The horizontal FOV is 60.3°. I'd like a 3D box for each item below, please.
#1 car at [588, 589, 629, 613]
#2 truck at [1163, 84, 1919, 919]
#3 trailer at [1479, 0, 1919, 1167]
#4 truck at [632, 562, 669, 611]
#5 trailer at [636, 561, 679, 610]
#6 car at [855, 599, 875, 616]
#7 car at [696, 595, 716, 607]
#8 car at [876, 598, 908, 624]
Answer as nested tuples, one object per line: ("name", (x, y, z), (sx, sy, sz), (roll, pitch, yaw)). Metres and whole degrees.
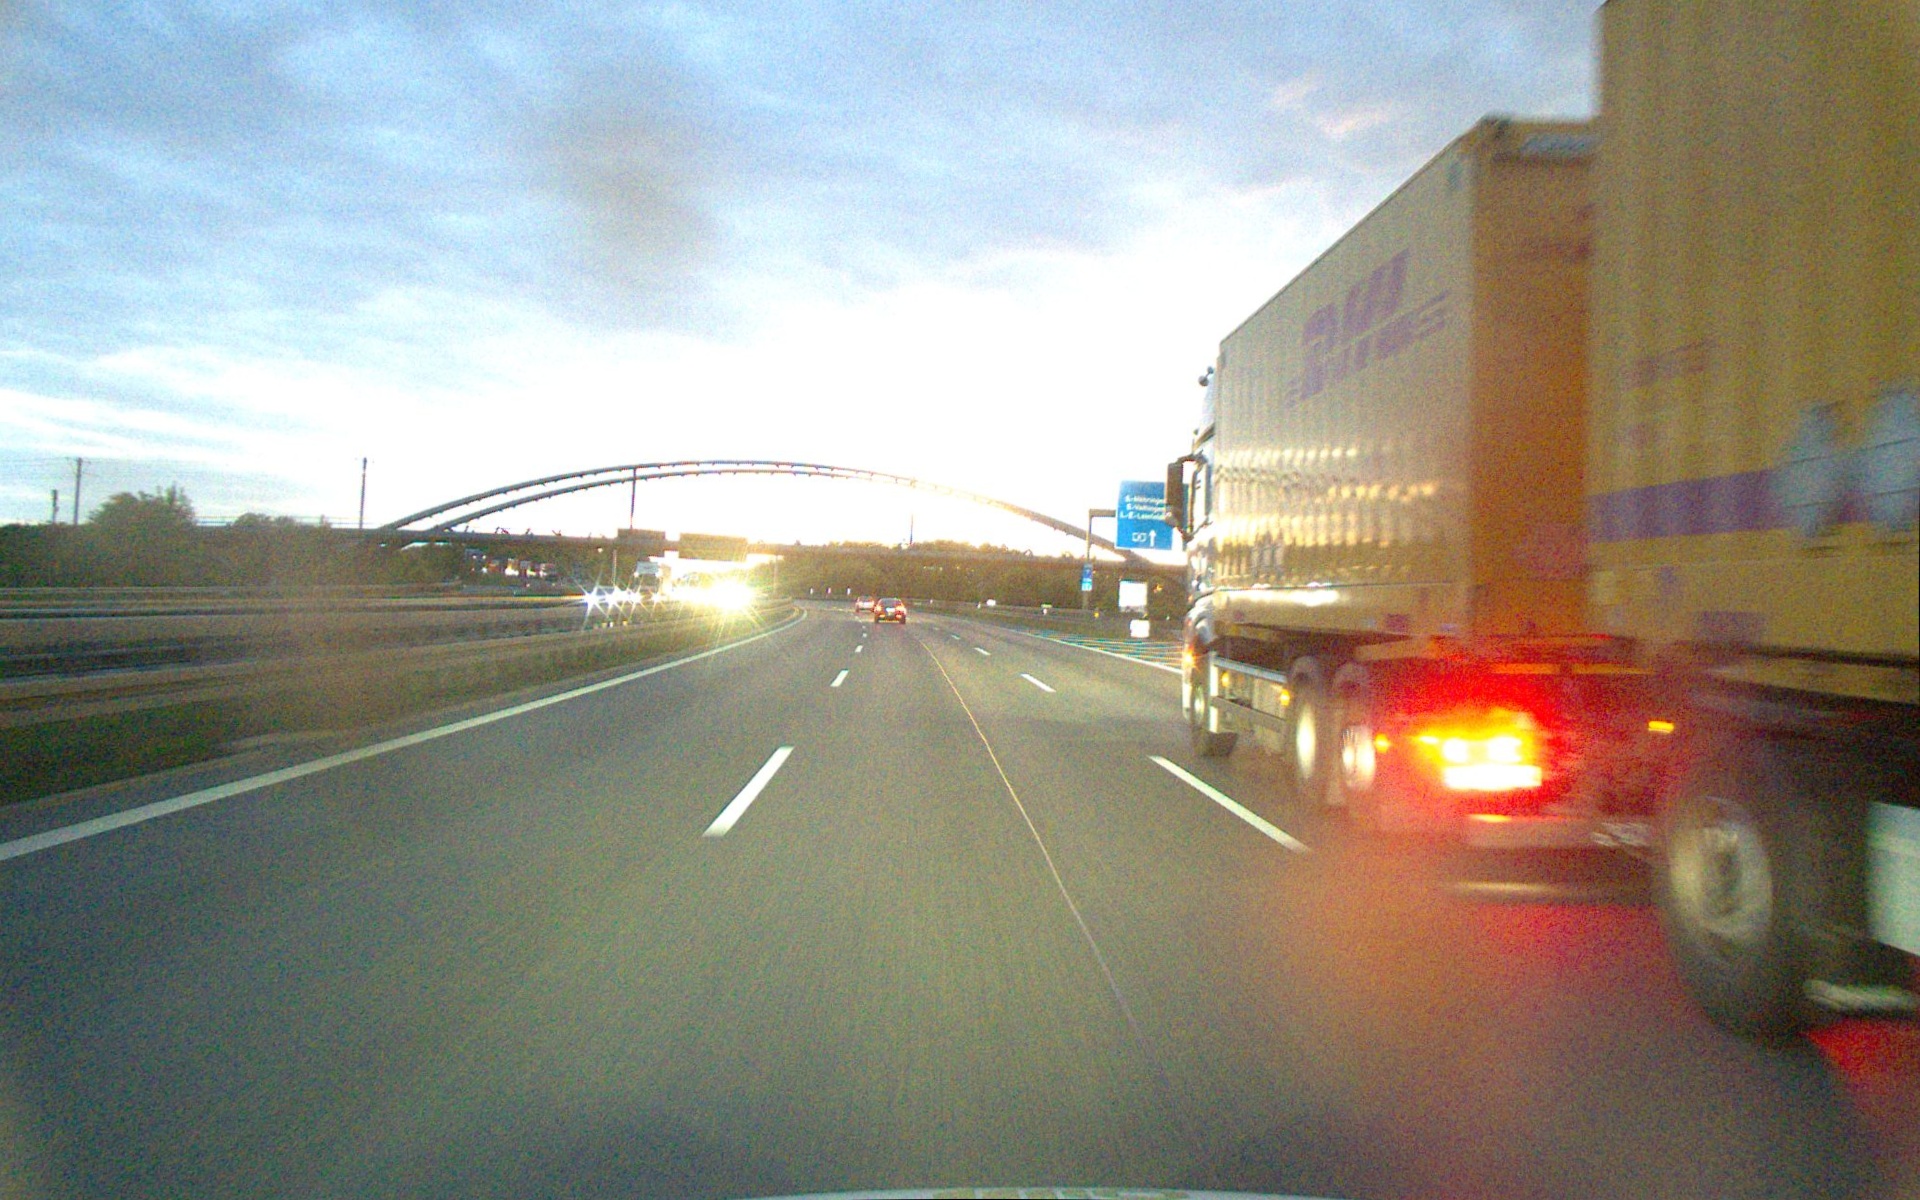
("car", (-25.156, 0.074, 118.512), (1.953, 1.653, 4.843), (1, 0, -1))
("truck", (3.788, -0.485, 13.575), (2.636, 4.142, 10.517), (1, 0, -1))
("trailer", (4.018, -0.491, 3.744), (2.667, 4.142, 8.828), (1, 0, -1))
("truck", (-29.802, -1.303, 159.495), (2.769, 4.586, 6.238), (1, 0, -5))
("trailer", (-30.288, -1.402, 165.981), (2.769, 4.586, 14.613), (1, 0, -5))
("car", (-9.066, 0.735, 157.510), (1.654, 1.426, 3.408), (1, -2, 1))
("car", (-31.006, 0.070, 201.965), (1.954, 1.428, 4.326), (1, 0, -4))
("car", (-4.082, 0.677, 98.466), (1.657, 1.426, 3.404), (2, -2, -6))
